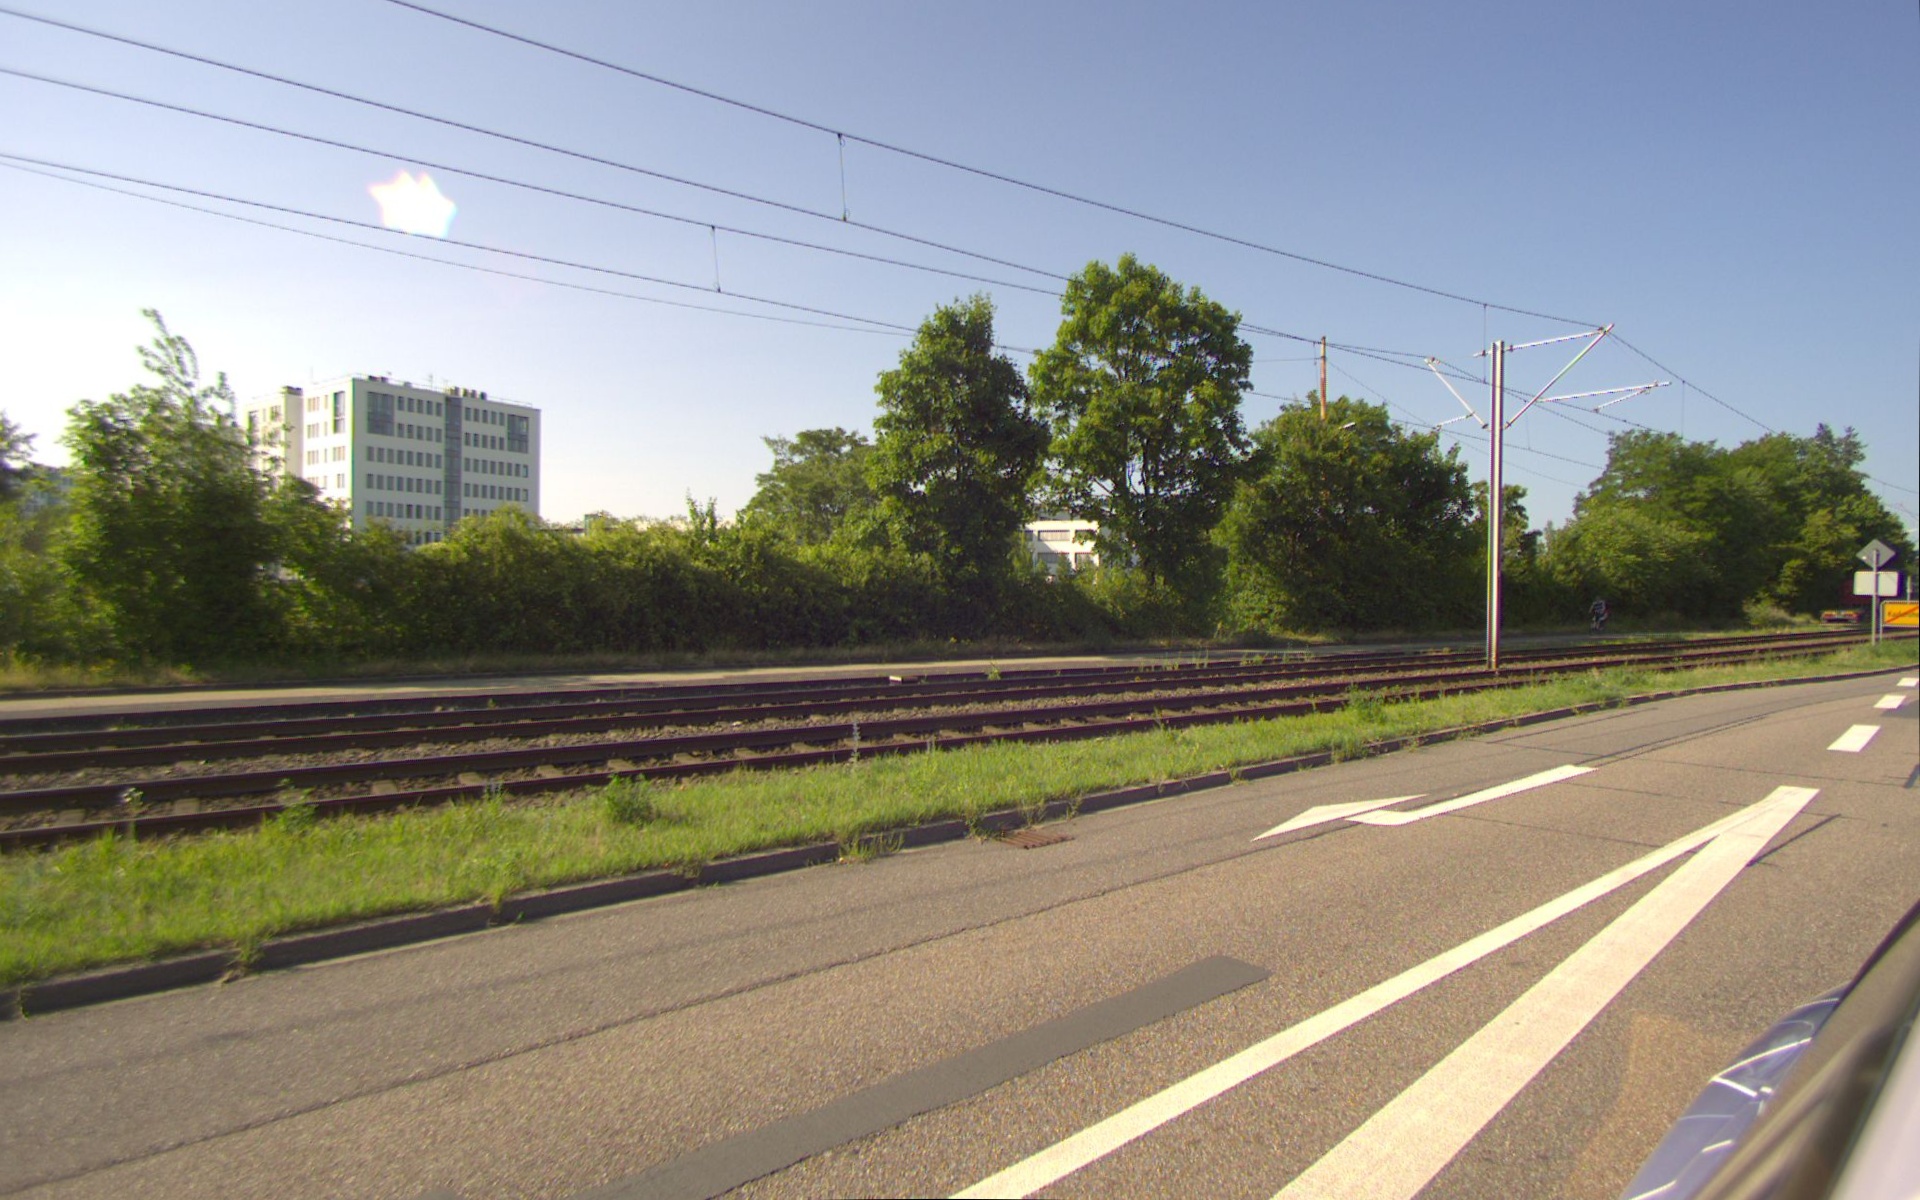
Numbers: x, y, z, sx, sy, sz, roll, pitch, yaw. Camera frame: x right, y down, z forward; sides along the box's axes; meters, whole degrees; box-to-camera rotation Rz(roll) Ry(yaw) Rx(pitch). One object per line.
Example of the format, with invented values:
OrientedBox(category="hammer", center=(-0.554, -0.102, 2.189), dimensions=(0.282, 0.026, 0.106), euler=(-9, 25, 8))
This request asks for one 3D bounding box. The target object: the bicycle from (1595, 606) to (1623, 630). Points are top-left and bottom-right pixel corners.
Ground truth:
OrientedBox(category="bicycle", center=(30.599, 0.839, 47.734), dimensions=(1.840, 1.060, 0.547), euler=(0, 1, -39))

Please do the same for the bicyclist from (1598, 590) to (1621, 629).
OrientedBox(category="bicyclist", center=(30.680, 0.440, 47.817), dimensions=(0.704, 1.830, 0.708), euler=(0, 0, -38))

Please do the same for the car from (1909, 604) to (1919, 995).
OrientedBox(category="car", center=(5.770, 0.736, 4.505), dimensions=(4.383, 1.442, 1.819), euler=(0, 0, -41))
